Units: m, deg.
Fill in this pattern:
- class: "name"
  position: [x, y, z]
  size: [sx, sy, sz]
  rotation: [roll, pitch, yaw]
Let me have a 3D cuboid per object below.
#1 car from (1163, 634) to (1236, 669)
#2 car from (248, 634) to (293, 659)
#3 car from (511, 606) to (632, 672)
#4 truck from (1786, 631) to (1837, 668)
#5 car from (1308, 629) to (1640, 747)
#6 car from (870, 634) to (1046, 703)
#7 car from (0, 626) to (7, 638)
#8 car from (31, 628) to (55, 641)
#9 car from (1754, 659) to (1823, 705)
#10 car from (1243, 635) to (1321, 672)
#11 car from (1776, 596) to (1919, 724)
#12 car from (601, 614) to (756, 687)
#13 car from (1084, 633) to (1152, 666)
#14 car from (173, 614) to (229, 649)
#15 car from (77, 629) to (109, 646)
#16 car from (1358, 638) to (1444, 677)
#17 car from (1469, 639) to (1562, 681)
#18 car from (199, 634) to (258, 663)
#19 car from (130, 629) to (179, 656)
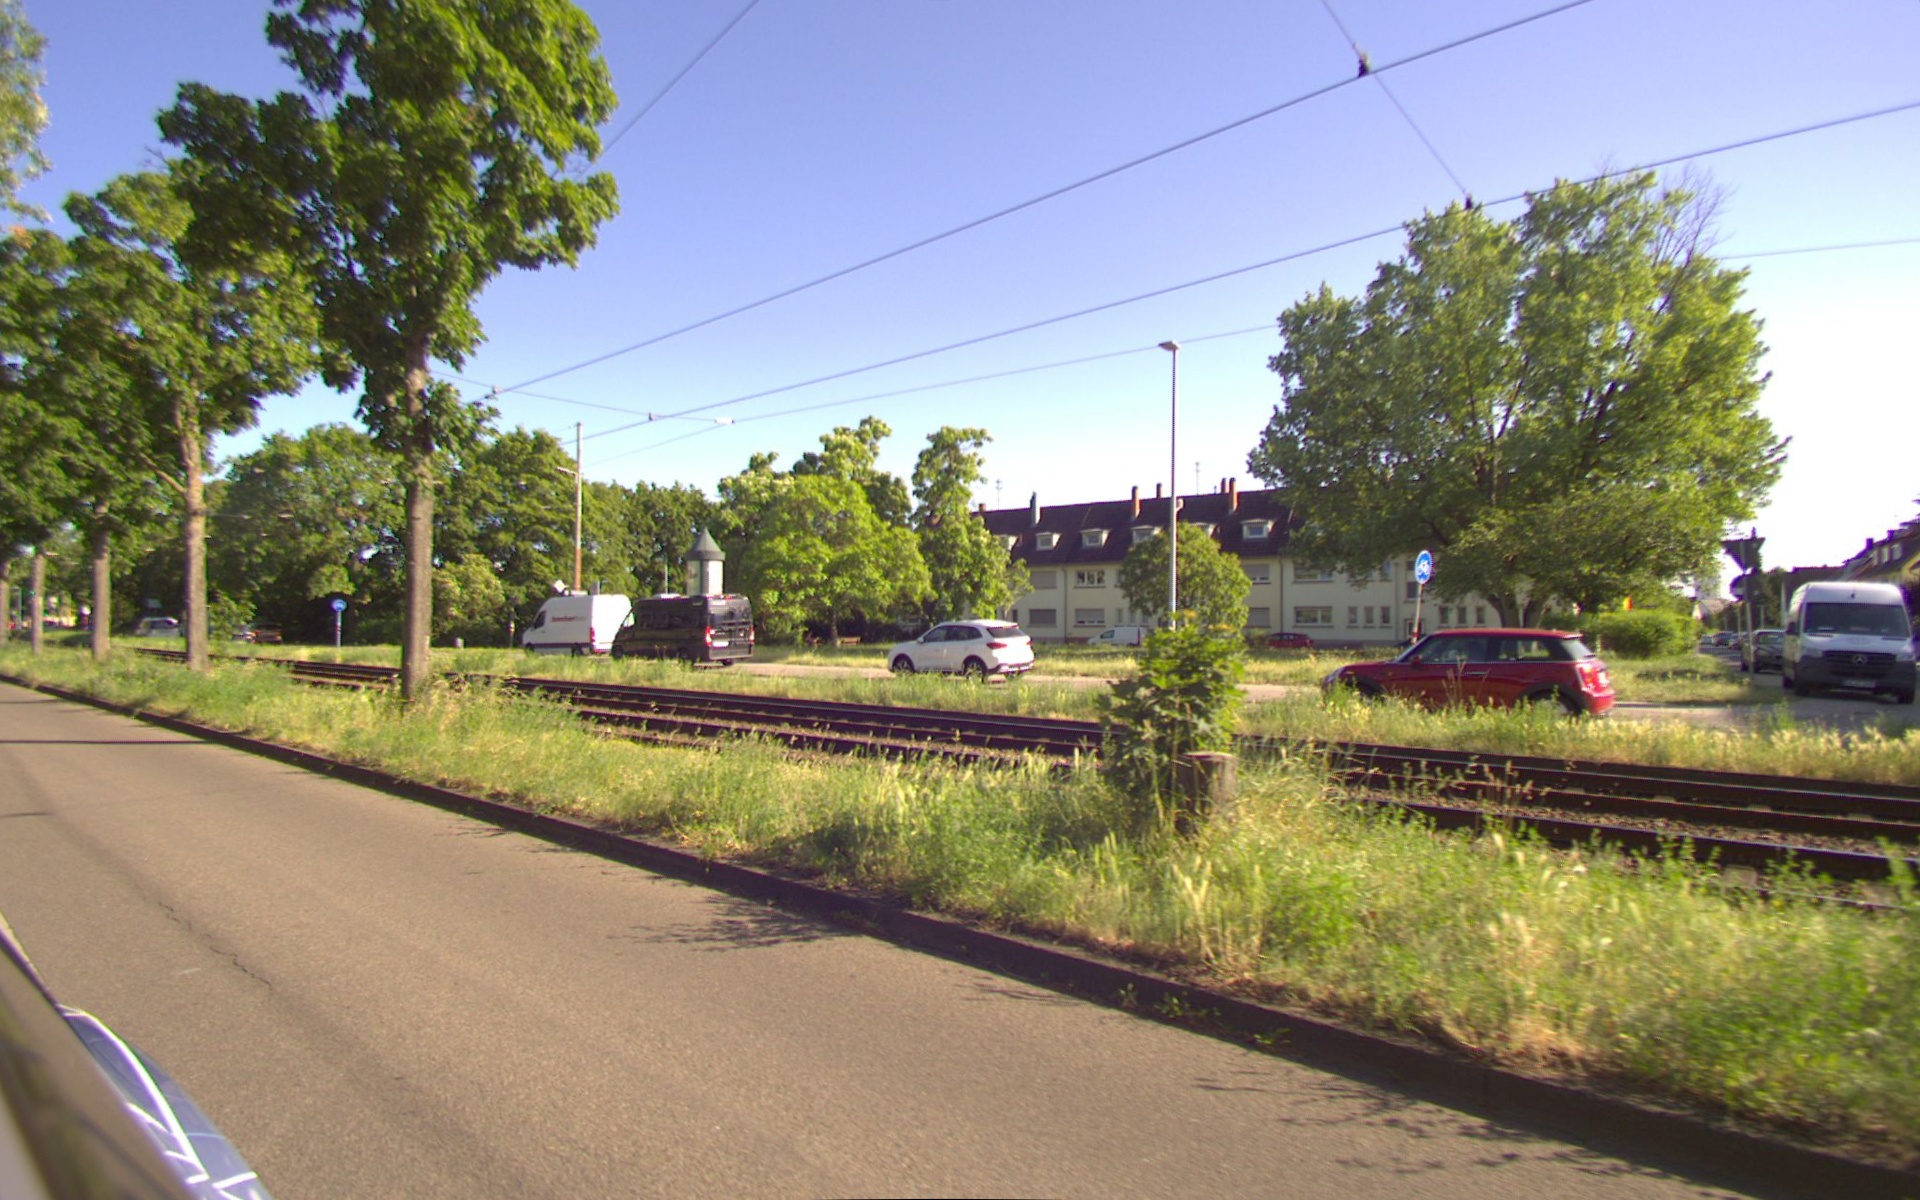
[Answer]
- class: "car"
  position: [14.971, 3.202, 63.396]
  size: [3.992, 2.029, 1.976]
  rotation: [-1, -1, 36]
- class: "car"
  position: [-47.695, 3.173, 69.952]
  size: [4.248, 1.596, 1.656]
  rotation: [-1, -1, 43]
- class: "car"
  position: [-15.951, 1.547, 41.377]
  size: [6.133, 2.515, 1.981]
  rotation: [-1, -1, 41]
- class: "truck"
  position: [52.522, 3.039, 62.476]
  size: [1.996, 2.105, 4.079]
  rotation: [-1, -1, 35]
- class: "car"
  position: [7.294, 1.153, 14.588]
  size: [3.998, 1.420, 1.659]
  rotation: [-1, -1, 41]
- class: "car"
  position: [-0.142, 1.773, 27.340]
  size: [4.772, 1.619, 1.804]
  rotation: [-1, -1, 42]
- class: "car"
  position: [-128.390, 4.279, 134.764]
  size: [4.441, 1.539, 1.708]
  rotation: [-1, -1, 42]
- class: "car"
  position: [-111.025, 4.124, 122.477]
  size: [4.441, 1.539, 1.708]
  rotation: [-1, -1, 42]
- class: "car"
  position: [28.944, 2.831, 35.425]
  size: [1.510, 1.366, 3.245]
  rotation: [-1, -1, 33]
- class: "car"
  position: [19.190, 3.145, 60.345]
  size: [3.996, 2.029, 1.974]
  rotation: [-1, -1, 39]
- class: "car"
  position: [20.425, 1.234, 23.159]
  size: [2.326, 2.526, 7.001]
  rotation: [-2, -2, 36]
- class: "car"
  position: [-10.098, 1.693, 35.923]
  size: [6.462, 2.394, 2.160]
  rotation: [-1, -1, 41]
- class: "car"
  position: [10.405, 3.219, 66.647]
  size: [3.988, 2.029, 1.978]
  rotation: [-1, -1, 33]
- class: "car"
  position: [-59.315, 2.478, 79.043]
  size: [6.795, 2.600, 2.202]
  rotation: [-2, -2, 41]
- class: "car"
  position: [-75.307, 3.230, 87.867]
  size: [3.818, 1.405, 1.541]
  rotation: [-1, -1, 41]
- class: "car"
  position: [24.688, 3.193, 56.695]
  size: [3.996, 2.029, 1.974]
  rotation: [-1, -1, 39]
- class: "car"
  position: [29.307, 3.112, 53.408]
  size: [3.996, 2.029, 1.974]
  rotation: [-1, -1, 39]
- class: "car"
  position: [-41.349, 2.723, 57.207]
  size: [3.750, 1.543, 1.972]
  rotation: [-2, -3, 42]
- class: "car"
  position: [-54.706, 2.848, 68.702]
  size: [4.979, 1.757, 1.792]
  rotation: [-1, -1, 41]
